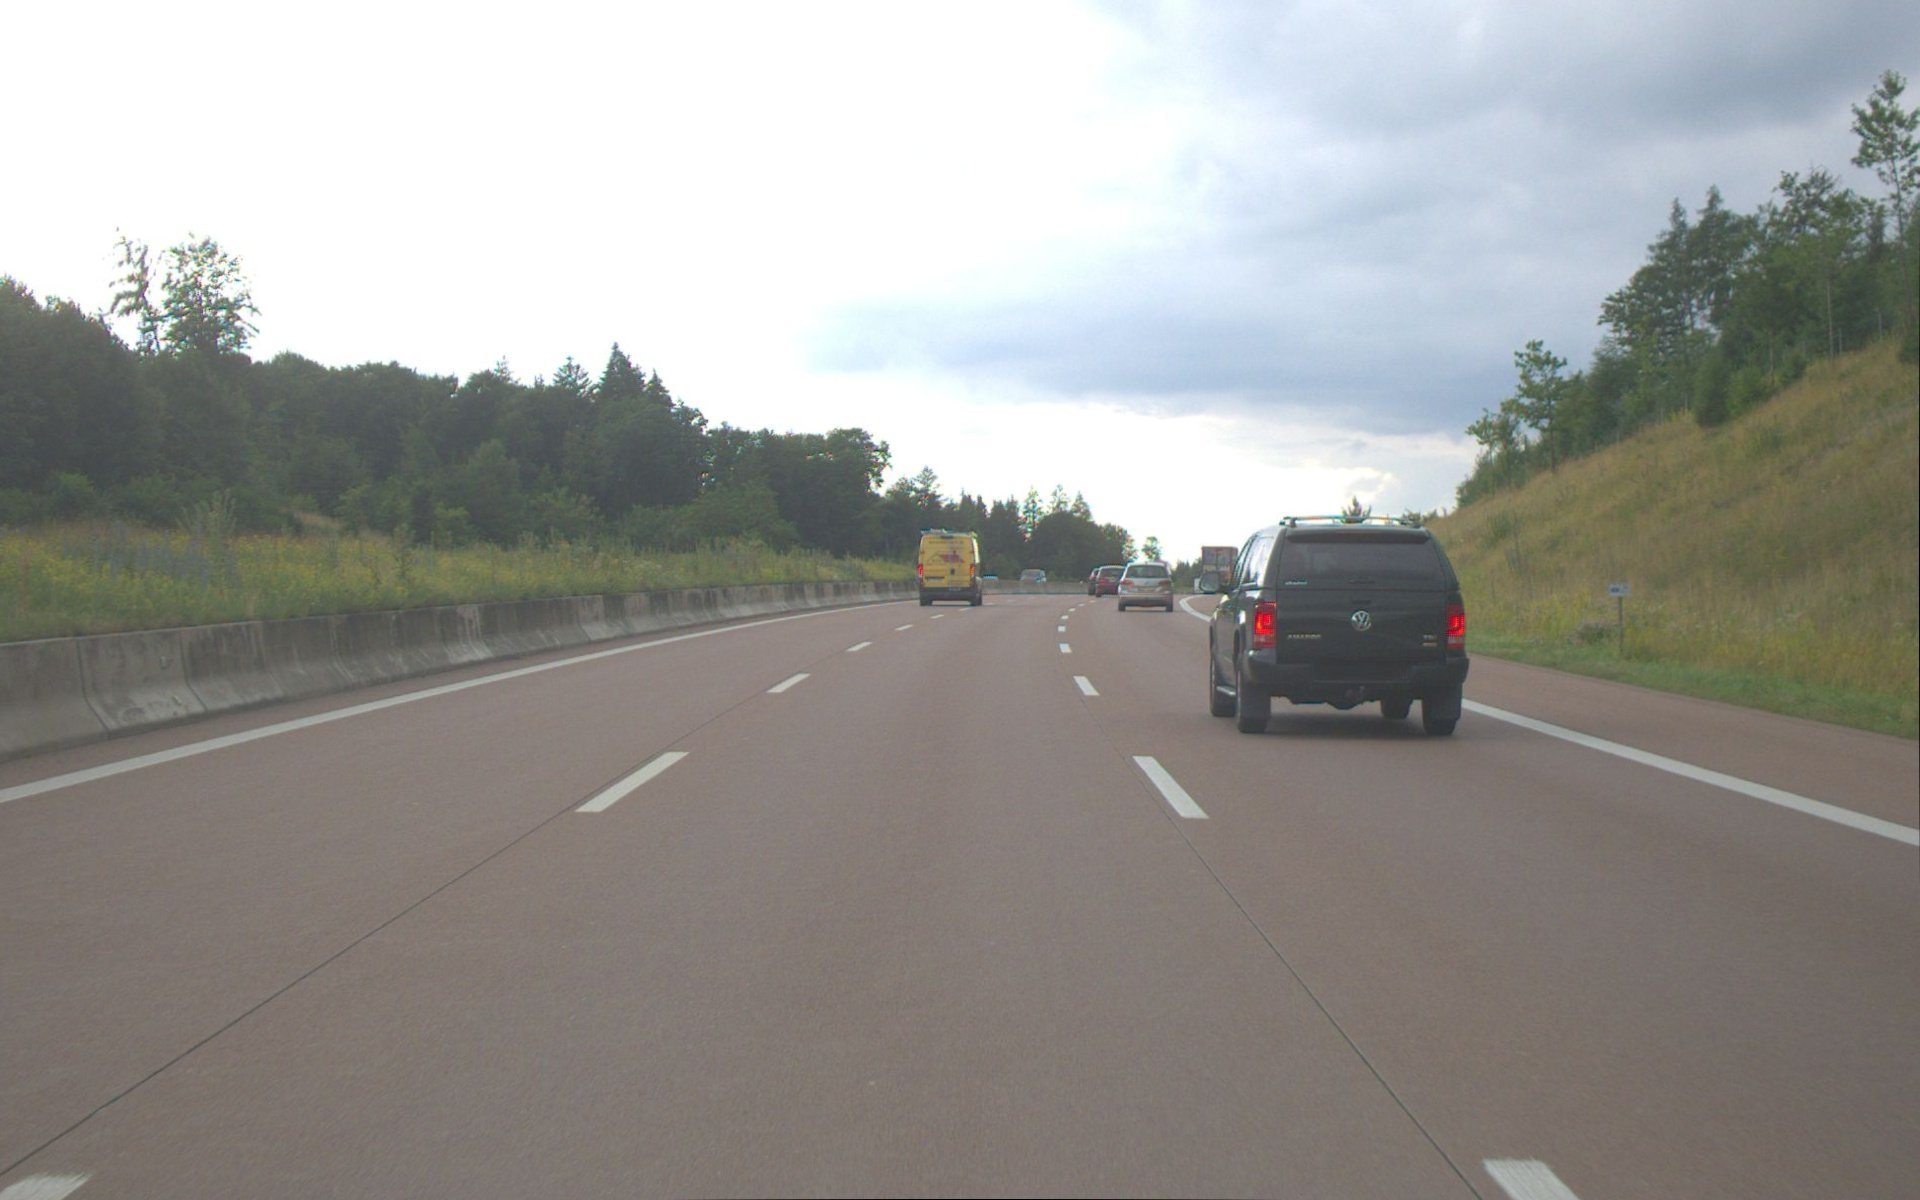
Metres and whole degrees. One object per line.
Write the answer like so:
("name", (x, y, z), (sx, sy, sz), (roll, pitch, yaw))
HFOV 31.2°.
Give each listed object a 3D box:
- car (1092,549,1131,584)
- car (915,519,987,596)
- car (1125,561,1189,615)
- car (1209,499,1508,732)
("car", (7.909, -1.744, 179.415), (1.888, 1.758, 4.781), (0, 0, 4))
("car", (-0.295, -1.498, 123.587), (2.458, 2.697, 5.613), (0, 0, 1))
("car", (6.339, -0.392, 110.207), (1.978, 1.642, 4.618), (1, 0, 4))
("car", (3.451, 0.128, 30.818), (2.044, 1.890, 5.577), (0, 0, 0))
